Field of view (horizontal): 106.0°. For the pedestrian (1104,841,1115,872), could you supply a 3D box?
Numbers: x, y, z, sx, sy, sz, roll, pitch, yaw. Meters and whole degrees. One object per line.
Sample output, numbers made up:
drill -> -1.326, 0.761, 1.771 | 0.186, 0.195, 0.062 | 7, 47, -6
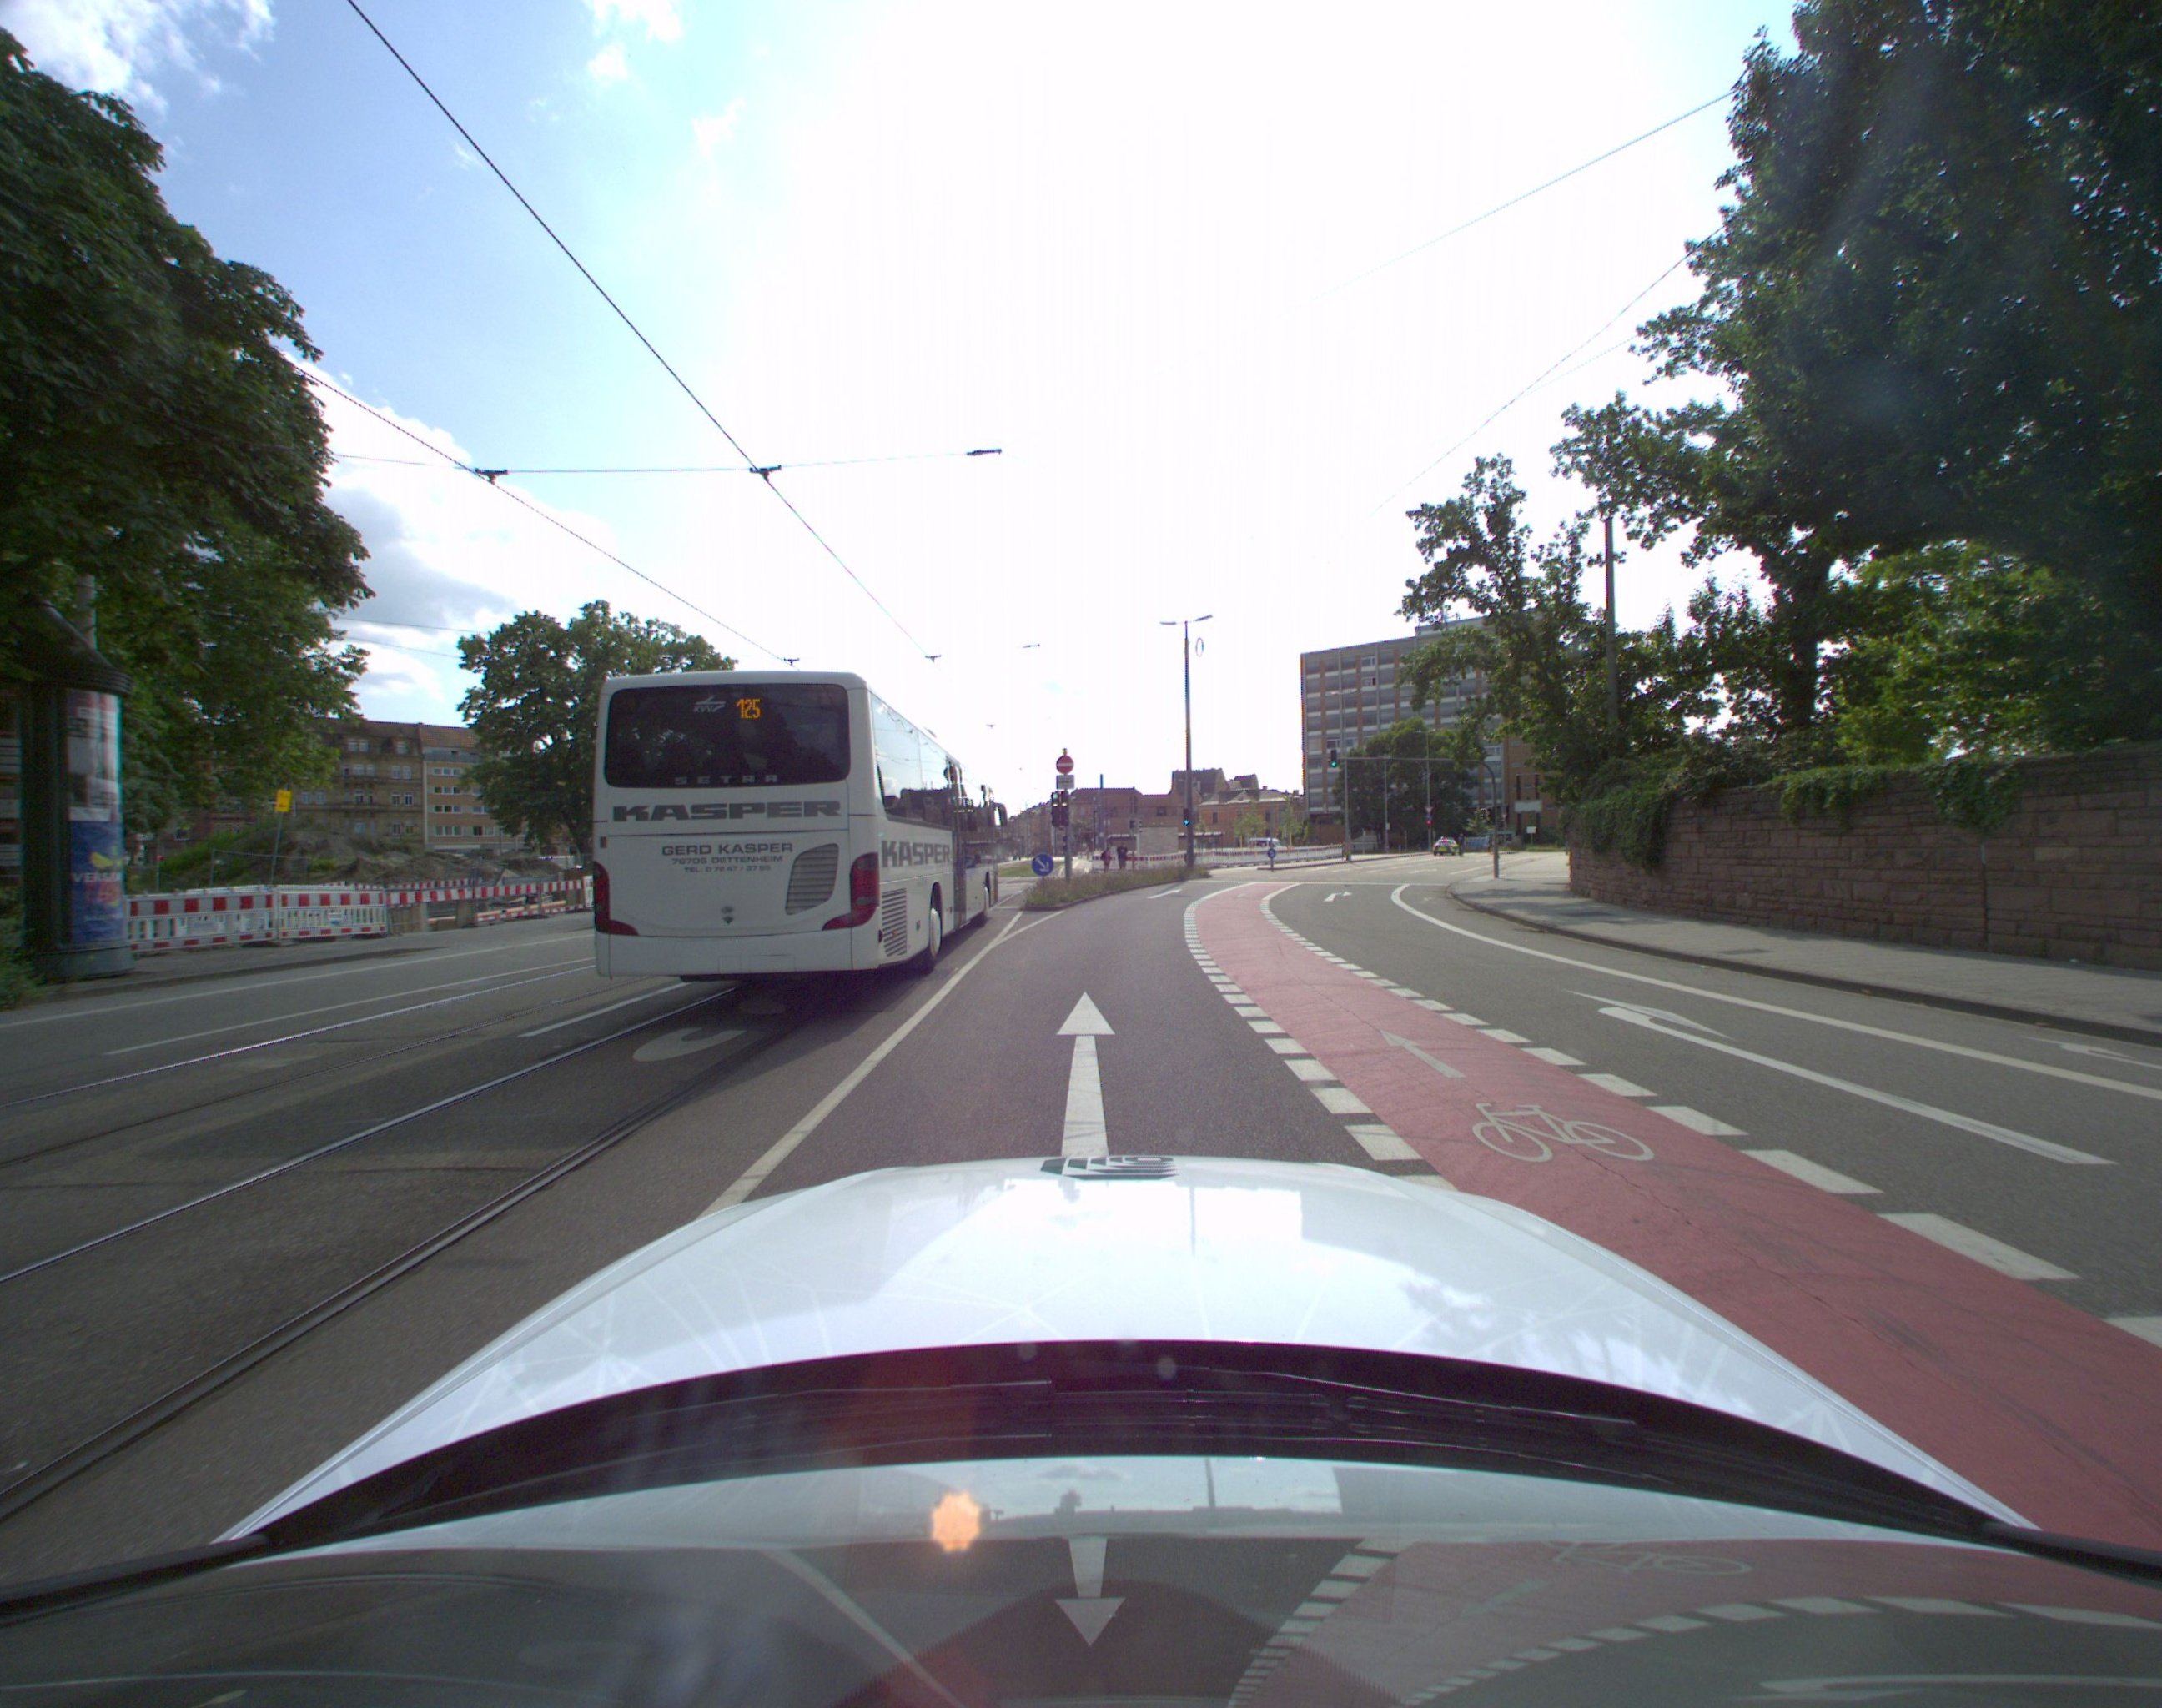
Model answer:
pedestrian -> 1.612, 0.150, 46.339 | 0.405, 1.736, 0.624 | -1, 0, 23

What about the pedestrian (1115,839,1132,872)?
pedestrian -> 2.466, 0.101, 46.877 | 0.792, 1.885, 0.610 | -1, 0, -15

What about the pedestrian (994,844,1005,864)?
pedestrian -> -8.396, -0.028, 83.722 | 0.946, 2.014, 0.724 | 0, 0, -30

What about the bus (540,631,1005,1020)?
bus -> -3.214, -0.242, 13.107 | 2.909, 3.328, 12.202 | 0, 0, 0

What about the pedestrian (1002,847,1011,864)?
pedestrian -> -8.910, 0.181, 97.162 | 0.941, 2.014, 0.728 | 0, 0, -11

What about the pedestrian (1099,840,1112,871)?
pedestrian -> 1.388, 0.072, 45.356 | 0.608, 1.706, 0.624 | -1, 0, 8

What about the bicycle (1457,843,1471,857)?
bicycle -> 32.779, -0.368, 69.649 | 0.714, 1.084, 2.205 | -2, 1, 35

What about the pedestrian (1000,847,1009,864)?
pedestrian -> -9.453, 0.189, 100.513 | 0.941, 2.014, 0.728 | 0, 0, -11

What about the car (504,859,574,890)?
car -> -46.161, 1.692, 69.484 | 2.039, 2.417, 4.643 | -1, 0, 17

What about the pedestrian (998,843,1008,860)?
pedestrian -> -9.042, -0.317, 94.330 | 0.945, 2.014, 0.725 | 0, 0, -25

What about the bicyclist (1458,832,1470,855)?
bicyclist -> 32.743, -0.901, 69.614 | 0.711, 1.973, 0.845 | -2, 1, 35

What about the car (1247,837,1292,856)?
car -> 24.578, -1.004, 106.595 | 2.312, 2.319, 5.527 | -1, 0, -36

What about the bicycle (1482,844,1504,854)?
bicycle -> 47.581, -0.583, 94.060 | 2.163, 1.084, 0.640 | -2, 1, 27

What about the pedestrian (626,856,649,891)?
pedestrian -> -21.638, 0.946, 39.744 | 0.573, 1.652, 0.794 | -1, 0, 37

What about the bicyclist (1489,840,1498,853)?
bicyclist -> 47.629, -0.901, 94.024 | 0.829, 1.470, 0.640 | -2, 1, 27

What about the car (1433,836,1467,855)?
car -> 34.084, -0.828, 75.143 | 2.109, 1.683, 4.128 | 1, 1, 35
